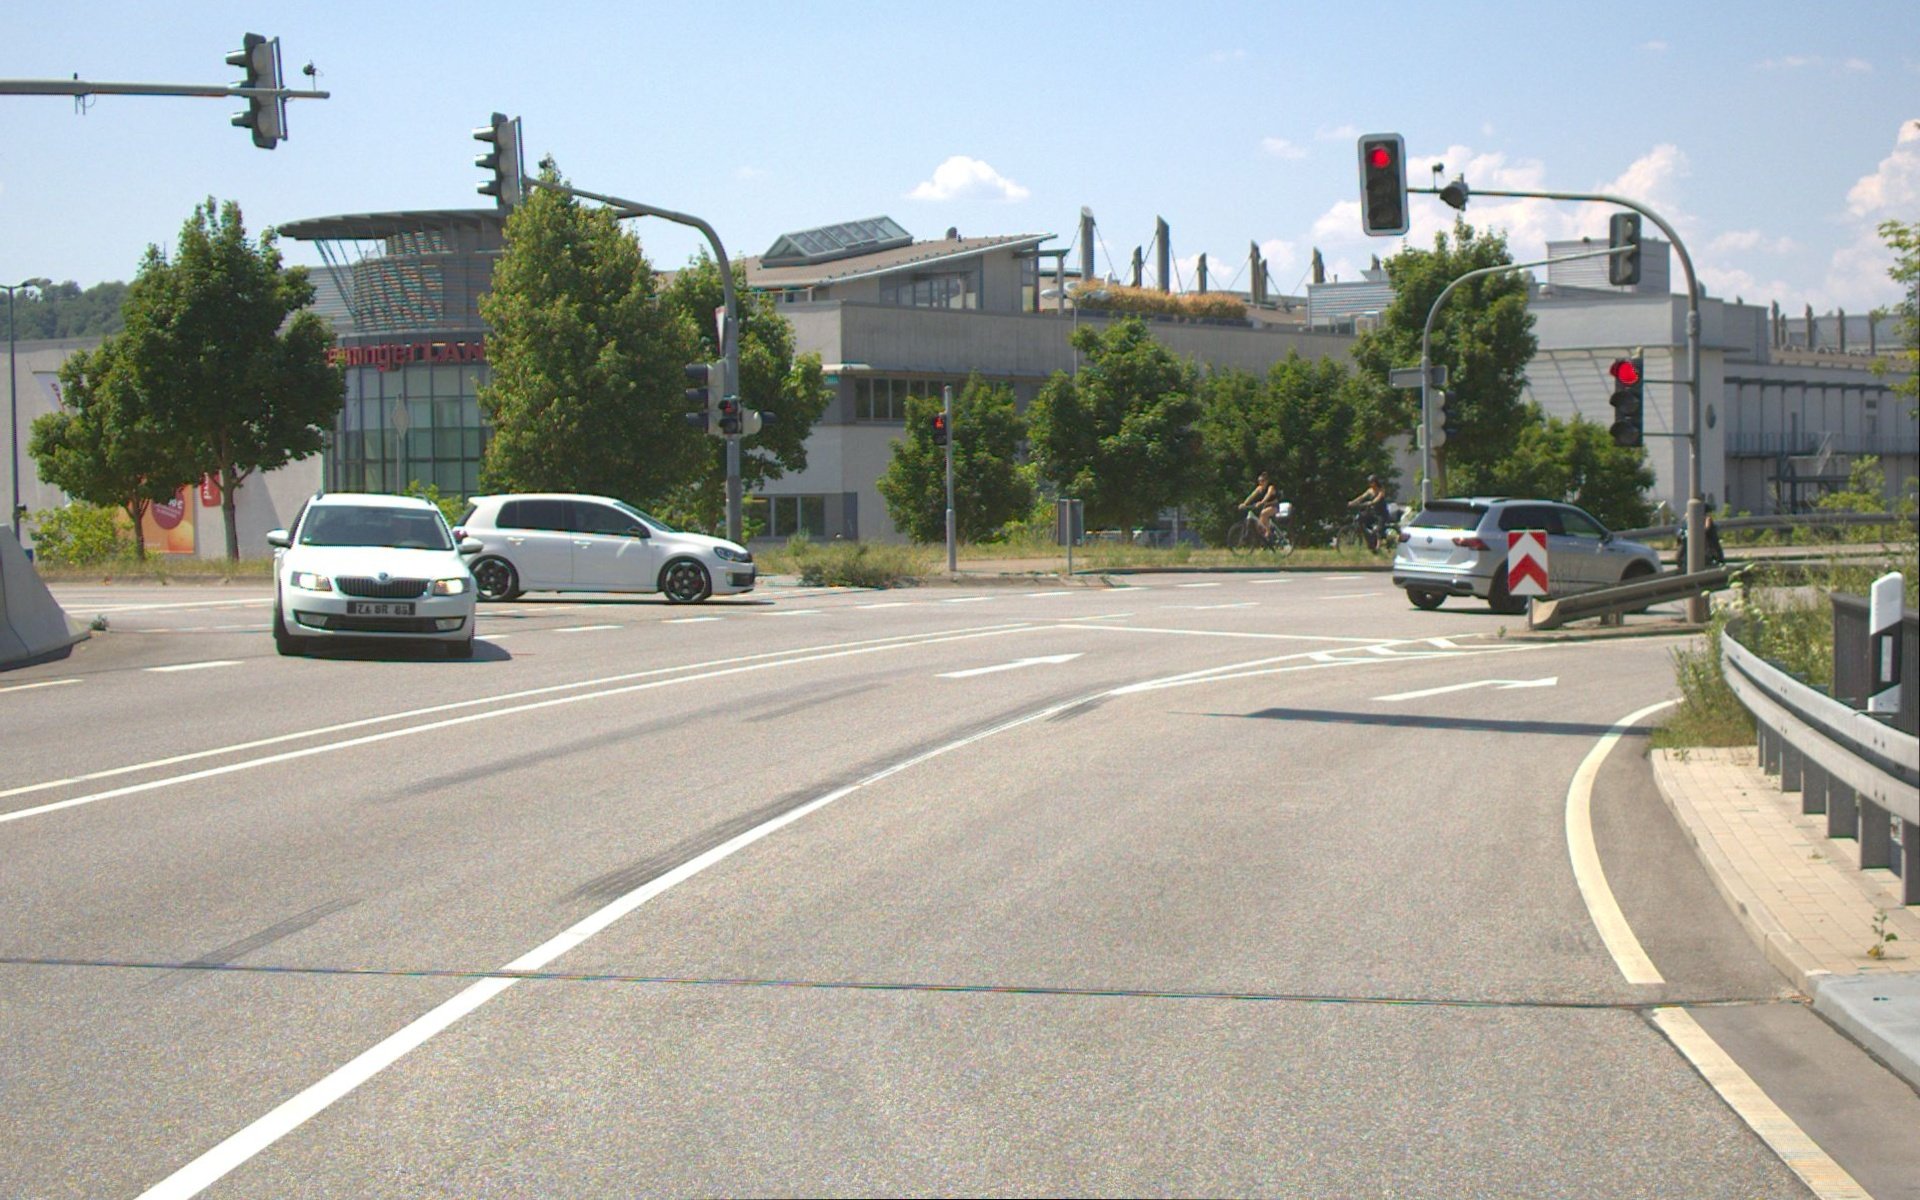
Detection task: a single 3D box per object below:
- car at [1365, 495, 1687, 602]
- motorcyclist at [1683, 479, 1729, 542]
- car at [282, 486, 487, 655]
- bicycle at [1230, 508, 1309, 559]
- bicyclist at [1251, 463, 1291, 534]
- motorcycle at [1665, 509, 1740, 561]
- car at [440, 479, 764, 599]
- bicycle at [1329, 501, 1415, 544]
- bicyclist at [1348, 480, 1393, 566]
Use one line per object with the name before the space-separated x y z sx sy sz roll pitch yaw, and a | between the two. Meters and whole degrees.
car | 8.230 -0.759 49.905 4.382 1.500 2.000 -1 1 -32
motorcyclist | 15.509 -1.853 71.483 0.676 1.298 0.722 0 1 39
car | -5.550 -0.334 32.774 1.787 1.490 4.553 0 2 -11
bicycle | 6.300 -1.350 69.897 1.827 1.021 0.415 0 4 -41
bicyclist | 6.321 -2.060 69.868 0.683 1.399 0.408 0 3 -40
motorcycle | 15.423 -1.349 71.387 0.563 1.076 2.279 1 2 39
car | -4.822 -0.852 46.709 4.122 1.481 2.000 2 2 1
bicycle | 8.415 -1.580 70.181 0.535 0.849 2.122 5 4 43
bicyclist | 8.376 -1.570 70.129 0.531 1.711 0.729 5 4 42
